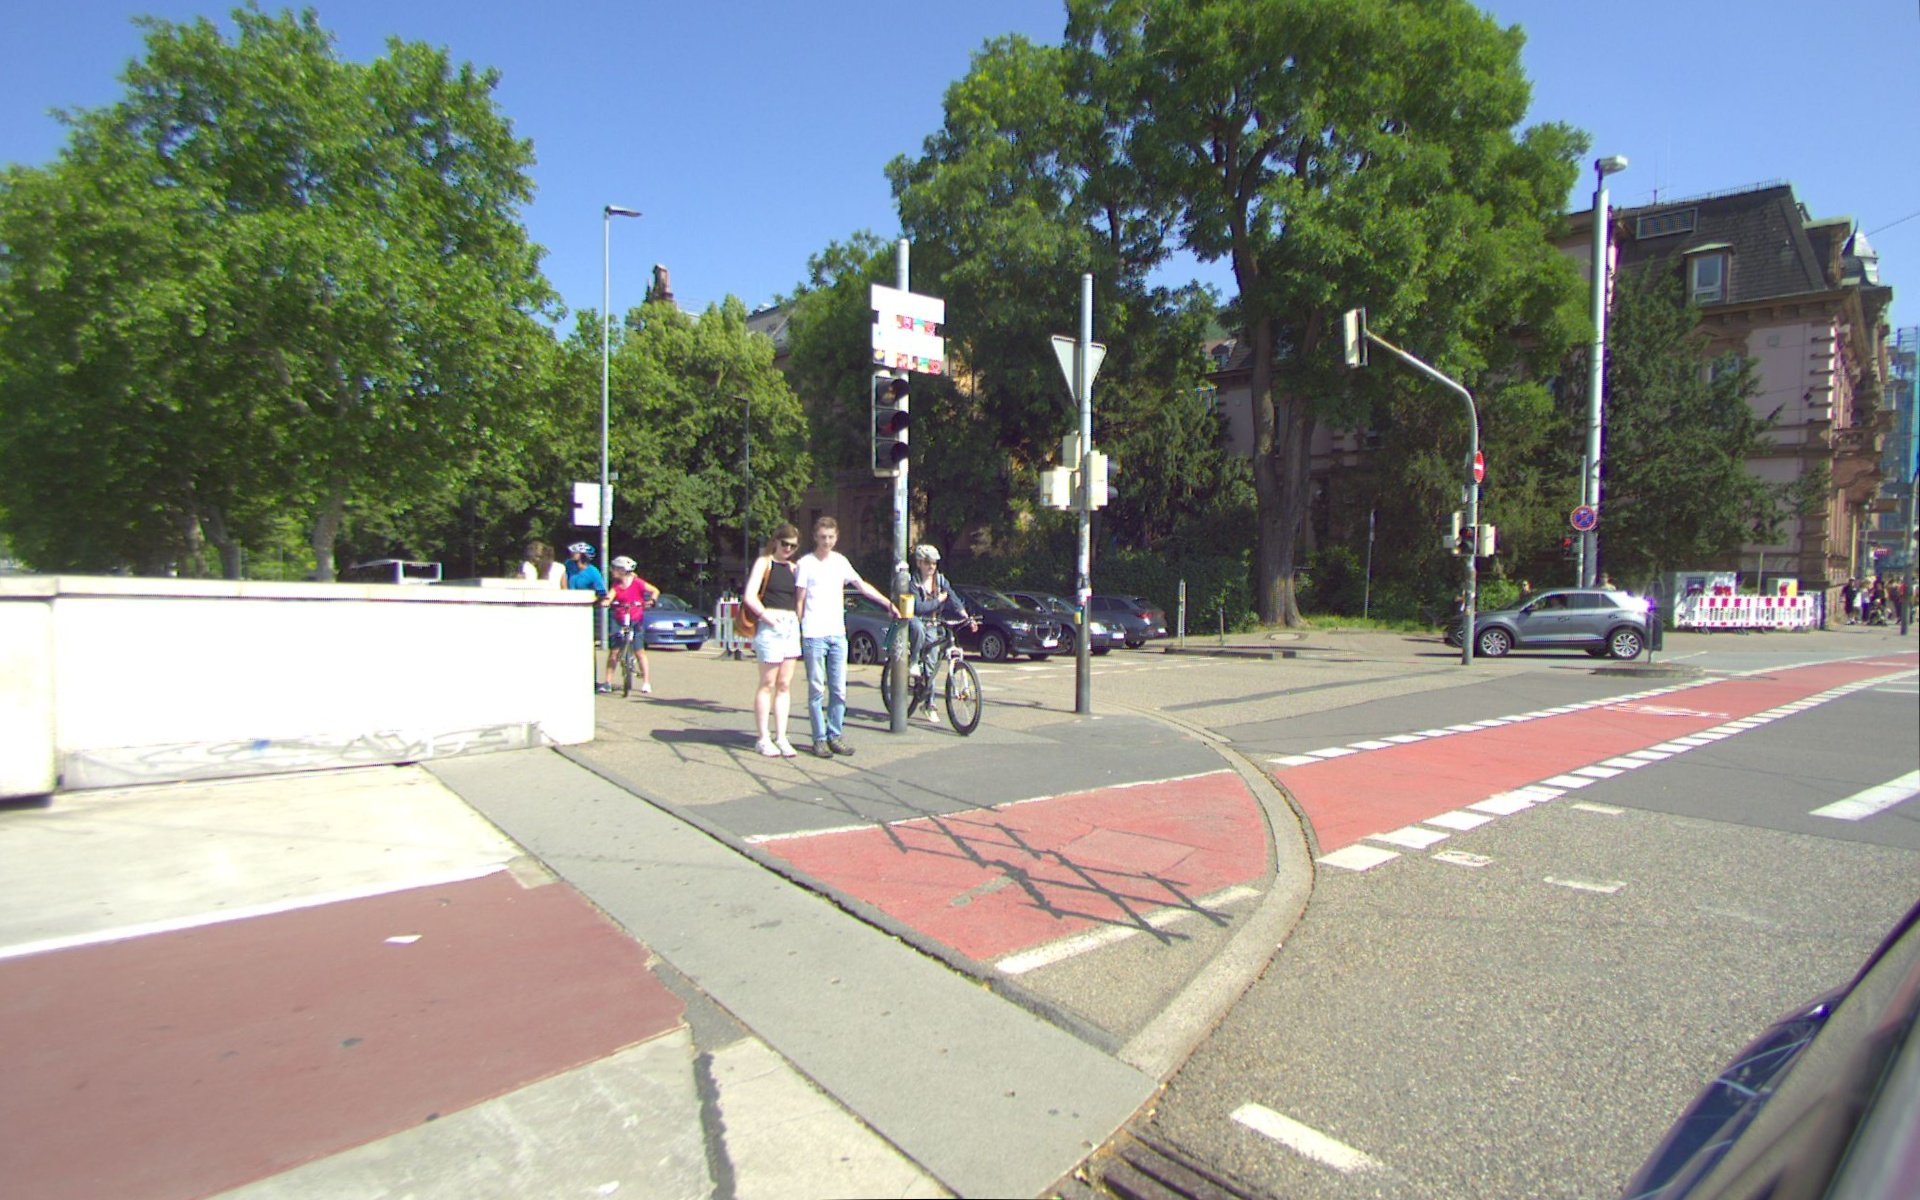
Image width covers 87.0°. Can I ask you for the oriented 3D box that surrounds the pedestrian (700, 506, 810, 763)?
[{"bbox_3d":[-1.504,0.233,7.414,0.566,1.782,0.535,1,1,-38],"label":"pedestrian"}]

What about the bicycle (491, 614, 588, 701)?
[{"bbox_3d":[-4.793,0.612,11.457,0.555,0.837,1.944,1,0,-36],"label":"bicycle"}]

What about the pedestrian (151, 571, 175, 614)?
[{"bbox_3d":[-33.745,-0.301,42.829,0.740,1.797,0.666,2,0,43],"label":"pedestrian"}]

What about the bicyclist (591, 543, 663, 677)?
[{"bbox_3d":[-3.917,0.110,11.892,0.746,1.492,1.086,1,0,-19],"label":"bicyclist"}]

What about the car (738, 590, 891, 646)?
[{"bbox_3d":[-4.220,0.457,28.991,4.464,1.397,1.821,2,1,39],"label":"car"}]

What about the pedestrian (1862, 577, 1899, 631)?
[{"bbox_3d":[32.311,0.129,35.522,0.812,1.814,0.803,7,4,43],"label":"pedestrian"}]

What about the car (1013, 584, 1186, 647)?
[{"bbox_3d":[3.748,0.384,27.511,4.265,1.509,1.971,2,1,40],"label":"car"}]

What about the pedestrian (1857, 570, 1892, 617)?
[{"bbox_3d":[33.118,-0.244,36.659,0.812,1.621,0.803,7,4,43],"label":"pedestrian"}]

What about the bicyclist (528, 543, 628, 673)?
[{"bbox_3d":[-4.668,0.083,12.326,0.910,1.492,1.084,1,0,-33],"label":"bicyclist"}]

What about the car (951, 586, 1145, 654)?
[{"bbox_3d":[2.004,0.417,23.860,4.300,1.374,1.854,2,1,42],"label":"car"}]

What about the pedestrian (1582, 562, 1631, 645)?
[{"bbox_3d":[16.352,0.073,25.586,0.775,2.038,1.043,4,3,44],"label":"pedestrian"}]

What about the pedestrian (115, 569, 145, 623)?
[{"bbox_3d":[-28.022,-0.136,34.163,0.740,1.797,0.666,2,0,43],"label":"pedestrian"}]

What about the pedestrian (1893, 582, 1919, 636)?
[{"bbox_3d":[34.406,0.307,36.793,0.634,1.915,0.889,2,1,42],"label":"pedestrian"}]

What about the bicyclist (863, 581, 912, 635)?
[{"bbox_3d":[-2.362,0.258,32.803,1.082,1.699,1.157,1,0,35],"label":"bicyclist"}]

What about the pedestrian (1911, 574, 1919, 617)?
[{"bbox_3d":[46.665,-0.201,48.916,0.812,2.037,0.803,7,4,43],"label":"pedestrian"}]

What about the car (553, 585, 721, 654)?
[{"bbox_3d":[-7.880,0.411,24.509,4.467,1.466,1.820,2,1,41],"label":"car"}]

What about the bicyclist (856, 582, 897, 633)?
[{"bbox_3d":[-2.720,0.224,32.903,1.053,1.573,0.768,3,2,34],"label":"bicyclist"}]

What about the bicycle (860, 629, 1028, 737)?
[{"bbox_3d":[-0.203,0.740,9.607,0.554,0.837,1.944,2,0,-36],"label":"bicycle"}]

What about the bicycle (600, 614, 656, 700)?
[{"bbox_3d":[-3.890,0.628,11.900,0.553,0.864,1.949,1,0,-18],"label":"bicycle"}]

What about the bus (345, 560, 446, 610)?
[{"bbox_3d":[-35.718,-1.010,63.858,8.824,2.817,3.062,3,3,43],"label":"bus"}]

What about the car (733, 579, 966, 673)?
[{"bbox_3d":[-2.200,0.412,19.425,4.465,1.412,1.821,4,3,39],"label":"car"}]

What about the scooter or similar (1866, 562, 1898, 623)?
[{"bbox_3d":[31.795,-0.276,34.903,0.692,2.038,1.078,4,2,43],"label":"scooter or similar"}]

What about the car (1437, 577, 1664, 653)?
[{"bbox_3d":[13.120,0.375,22.767,3.934,1.536,1.927,-2,-2,14],"label":"car"}]

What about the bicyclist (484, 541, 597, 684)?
[{"bbox_3d":[-4.700,0.125,11.321,0.910,1.492,1.083,1,0,-36],"label":"bicyclist"}]

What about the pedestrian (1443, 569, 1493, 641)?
[{"bbox_3d":[13.329,0.123,26.554,1.053,1.802,0.693,2,5,35],"label":"pedestrian"}]

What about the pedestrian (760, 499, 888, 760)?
[{"bbox_3d":[-1.055,0.205,7.789,0.632,1.878,0.776,1,1,-38],"label":"pedestrian"}]

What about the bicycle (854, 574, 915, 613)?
[{"bbox_3d":[-2.454,-0.224,32.846,1.991,1.241,0.708,1,0,36],"label":"bicycle"}]

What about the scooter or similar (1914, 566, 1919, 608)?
[{"bbox_3d":[46.646,-0.620,48.885,0.692,2.038,1.078,4,2,43],"label":"scooter or similar"}]

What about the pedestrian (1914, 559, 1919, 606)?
[{"bbox_3d":[42.420,-0.737,44.274,0.812,2.037,0.803,7,4,43],"label":"pedestrian"}]

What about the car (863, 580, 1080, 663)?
[{"bbox_3d":[0.170,0.386,21.532,4.464,1.525,1.821,2,1,39],"label":"car"}]

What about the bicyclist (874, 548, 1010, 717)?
[{"bbox_3d":[-0.180,0.281,9.609,0.785,1.492,1.083,1,0,-37],"label":"bicyclist"}]

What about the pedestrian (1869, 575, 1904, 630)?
[{"bbox_3d":[35.623,0.090,38.924,0.812,2.037,0.803,7,4,43],"label":"pedestrian"}]

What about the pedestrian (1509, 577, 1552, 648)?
[{"bbox_3d":[14.526,0.308,25.780,0.878,1.731,0.674,0,3,-45],"label":"pedestrian"}]

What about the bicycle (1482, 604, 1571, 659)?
[{"bbox_3d":[14.633,0.791,26.147,2.228,1.219,0.805,-3,6,-24],"label":"bicycle"}]

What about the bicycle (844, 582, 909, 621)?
[{"bbox_3d":[-2.722,0.024,32.882,2.235,1.179,0.609,3,2,35],"label":"bicycle"}]
